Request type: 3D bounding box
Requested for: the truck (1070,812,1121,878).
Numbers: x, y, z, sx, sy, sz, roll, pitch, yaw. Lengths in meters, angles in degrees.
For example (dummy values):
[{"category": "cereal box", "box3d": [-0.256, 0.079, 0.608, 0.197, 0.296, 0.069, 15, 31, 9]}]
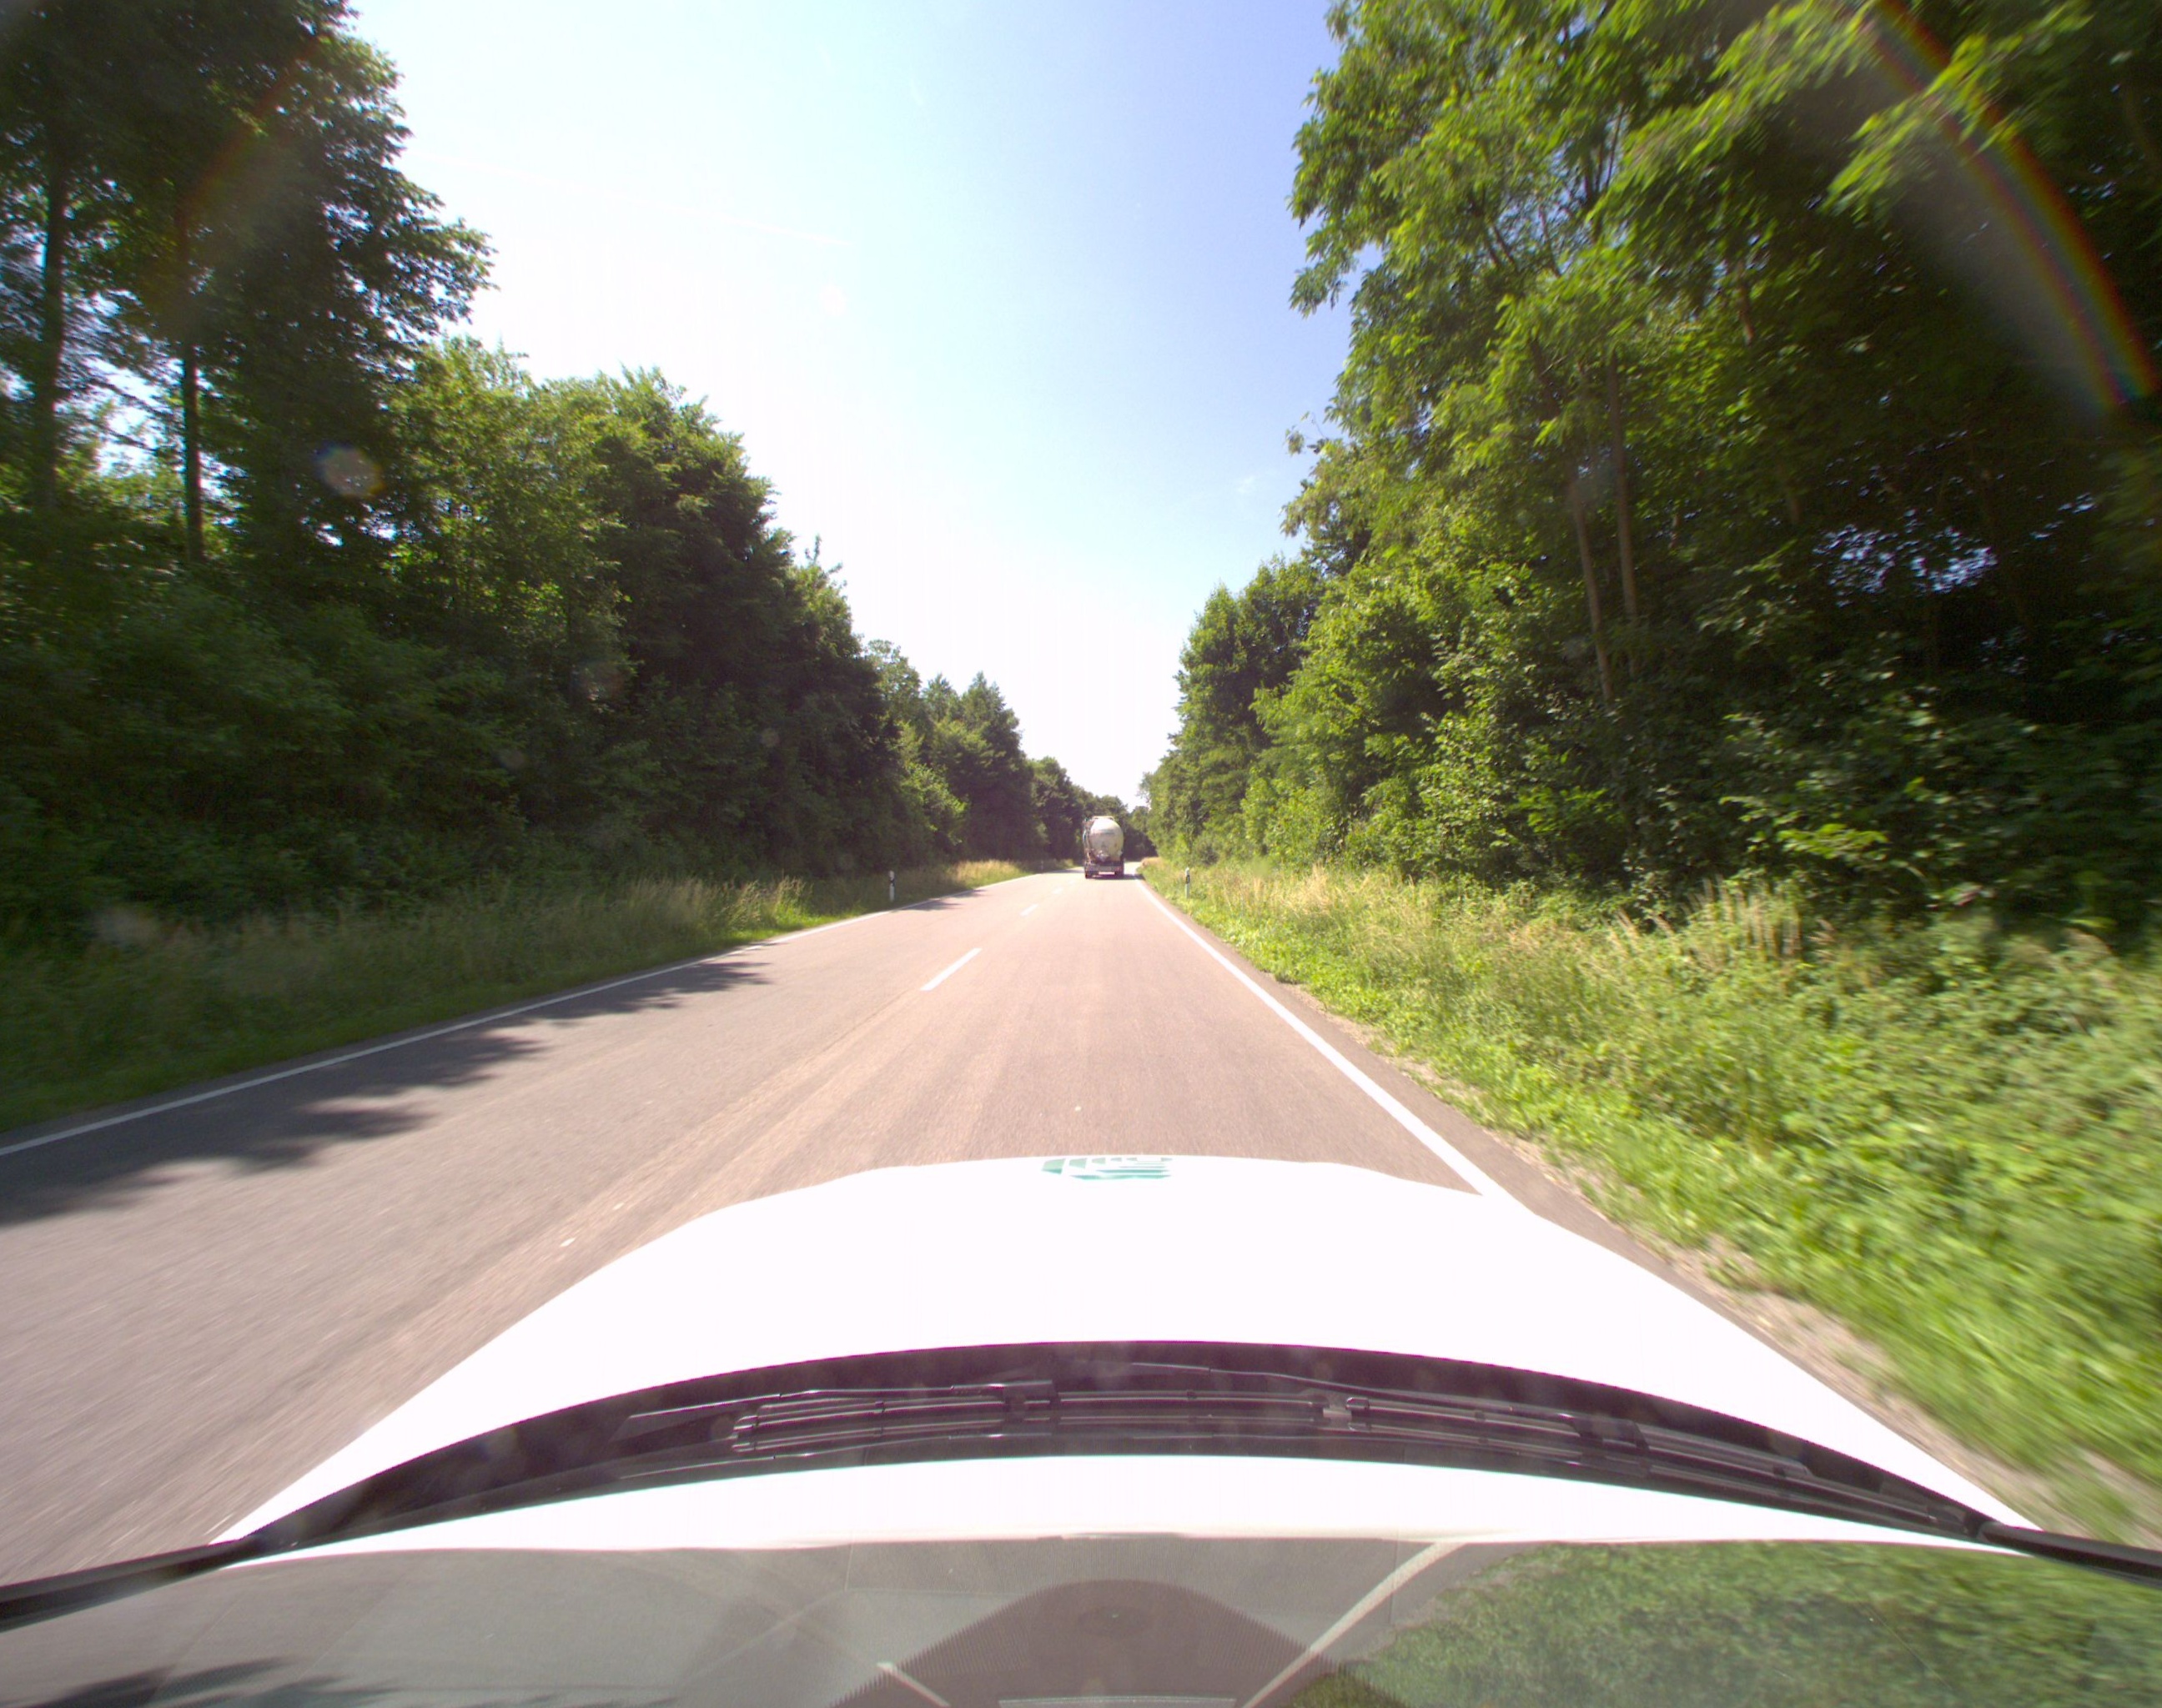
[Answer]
[{"category": "truck", "box3d": [1.286, -0.536, 57.400, 3.037, 3.998, 15.648, 0, 0, 3]}]
